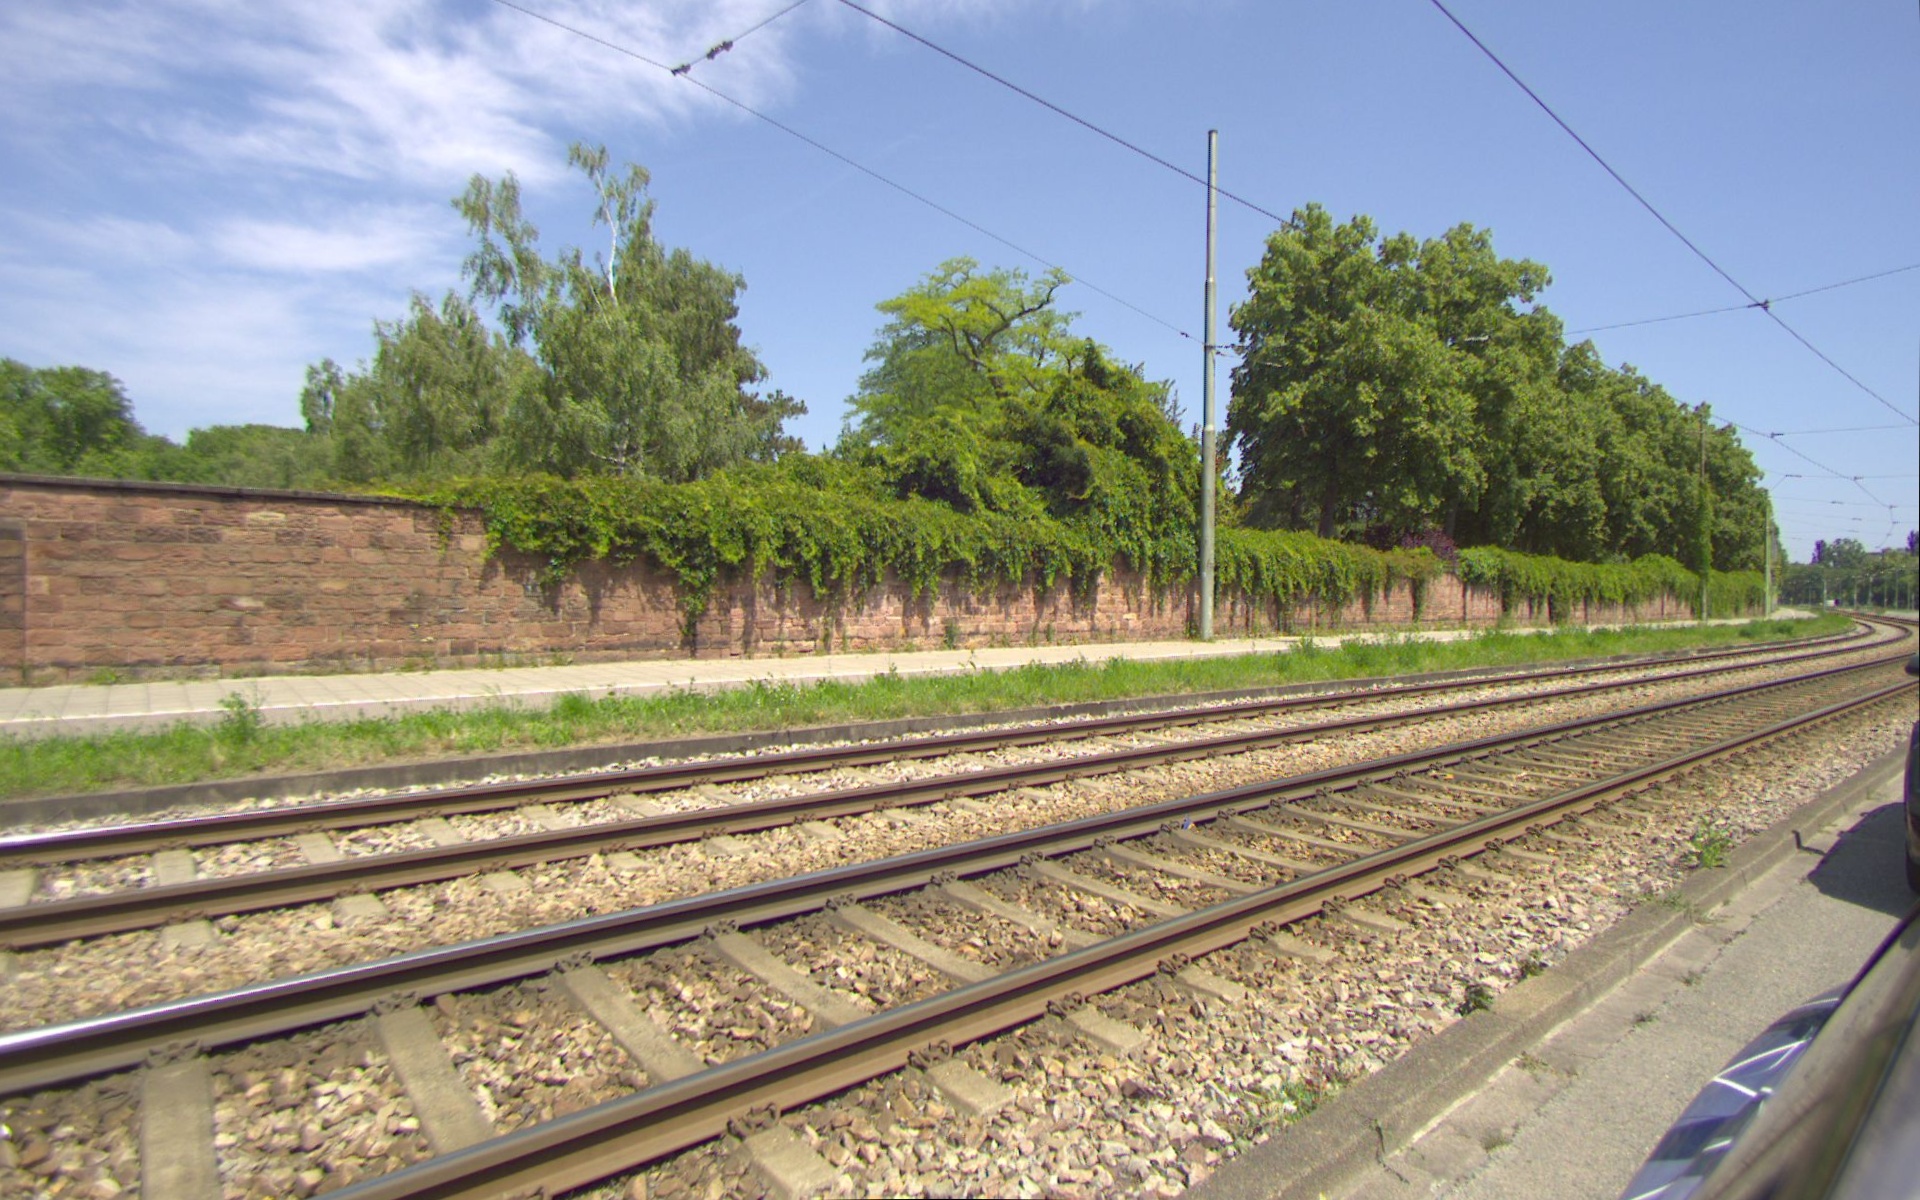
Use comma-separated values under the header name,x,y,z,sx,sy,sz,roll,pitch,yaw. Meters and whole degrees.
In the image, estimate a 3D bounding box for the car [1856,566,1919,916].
name,x,y,z,sx,sy,sz,roll,pitch,yaw
car,6.341,0.622,5.100,3.927,1.563,2.062,0,-1,-38
